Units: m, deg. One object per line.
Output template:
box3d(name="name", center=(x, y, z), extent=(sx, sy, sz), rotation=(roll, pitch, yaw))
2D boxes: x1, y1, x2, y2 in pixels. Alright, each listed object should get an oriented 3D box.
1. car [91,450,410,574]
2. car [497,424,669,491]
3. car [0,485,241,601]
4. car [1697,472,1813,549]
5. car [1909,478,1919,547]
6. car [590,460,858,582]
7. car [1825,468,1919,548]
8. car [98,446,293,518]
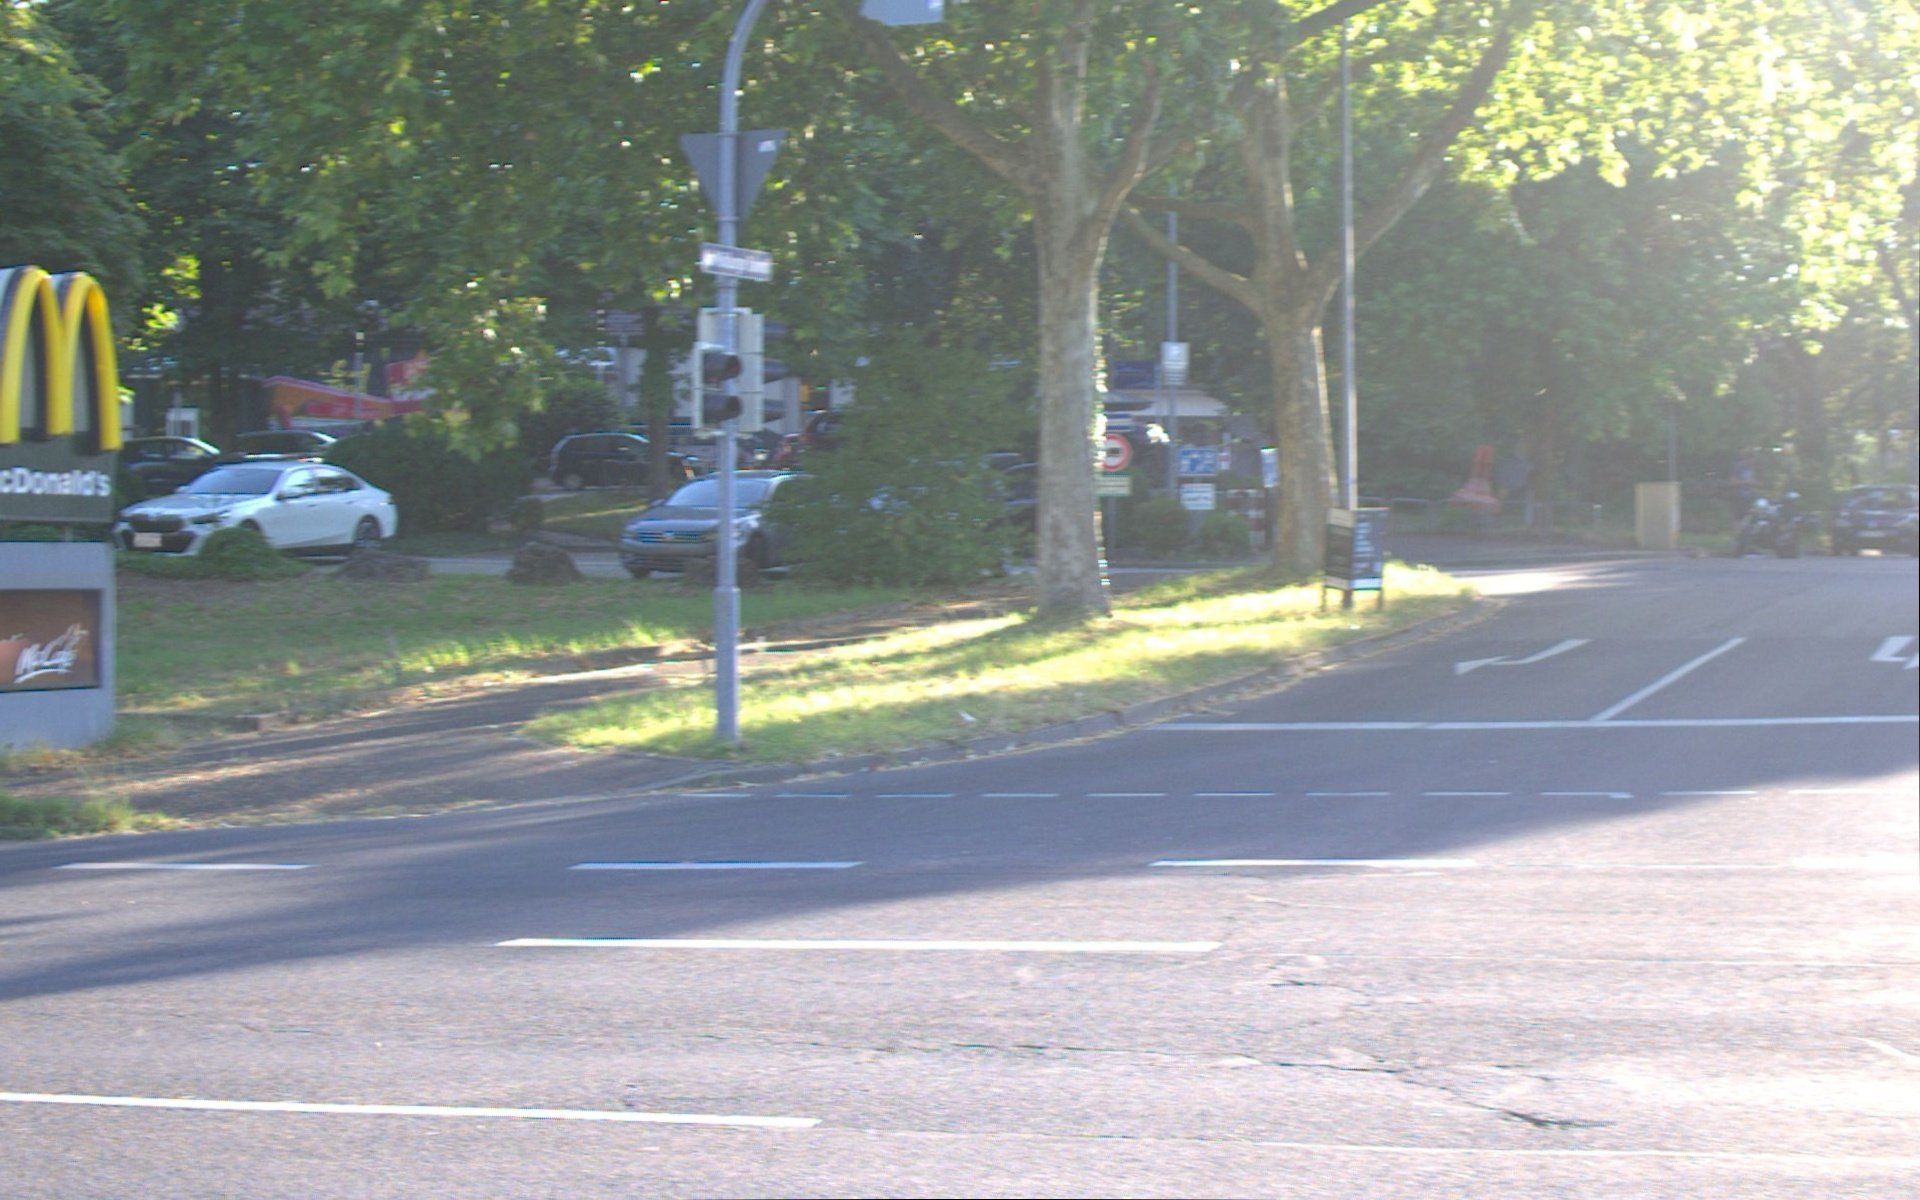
box3d(name="car", center=(-10.187, -1.306, 49.776), extent=(1.996, 1.700, 4.894), rotation=(0, 2, 24))
box3d(name="car", center=(-9.260, -3.504, 84.586), extent=(3.987, 1.546, 1.808), rotation=(-1, 2, 1))
box3d(name="car", center=(-12.913, -0.905, 52.861), extent=(1.823, 1.682, 4.222), rotation=(-1, 2, 16))
box3d(name="car", center=(16.670, -1.884, 71.982), extent=(1.847, 1.546, 3.996), rotation=(0, 2, 21))
box3d(name="car", center=(23.071, -2.050, 79.463), extent=(1.847, 1.546, 3.996), rotation=(0, 2, 21))
box3d(name="car", center=(-3.167, -1.106, 47.088), extent=(2.039, 1.568, 4.398), rotation=(0, 2, 20))
box3d(name="car", center=(18.444, -1.856, 68.620), extent=(1.847, 1.546, 3.996), rotation=(0, 2, 21))
box3d(name="car", center=(-17.446, -2.689, 78.543), extent=(3.987, 1.546, 1.808), rotation=(-1, 2, 2))
